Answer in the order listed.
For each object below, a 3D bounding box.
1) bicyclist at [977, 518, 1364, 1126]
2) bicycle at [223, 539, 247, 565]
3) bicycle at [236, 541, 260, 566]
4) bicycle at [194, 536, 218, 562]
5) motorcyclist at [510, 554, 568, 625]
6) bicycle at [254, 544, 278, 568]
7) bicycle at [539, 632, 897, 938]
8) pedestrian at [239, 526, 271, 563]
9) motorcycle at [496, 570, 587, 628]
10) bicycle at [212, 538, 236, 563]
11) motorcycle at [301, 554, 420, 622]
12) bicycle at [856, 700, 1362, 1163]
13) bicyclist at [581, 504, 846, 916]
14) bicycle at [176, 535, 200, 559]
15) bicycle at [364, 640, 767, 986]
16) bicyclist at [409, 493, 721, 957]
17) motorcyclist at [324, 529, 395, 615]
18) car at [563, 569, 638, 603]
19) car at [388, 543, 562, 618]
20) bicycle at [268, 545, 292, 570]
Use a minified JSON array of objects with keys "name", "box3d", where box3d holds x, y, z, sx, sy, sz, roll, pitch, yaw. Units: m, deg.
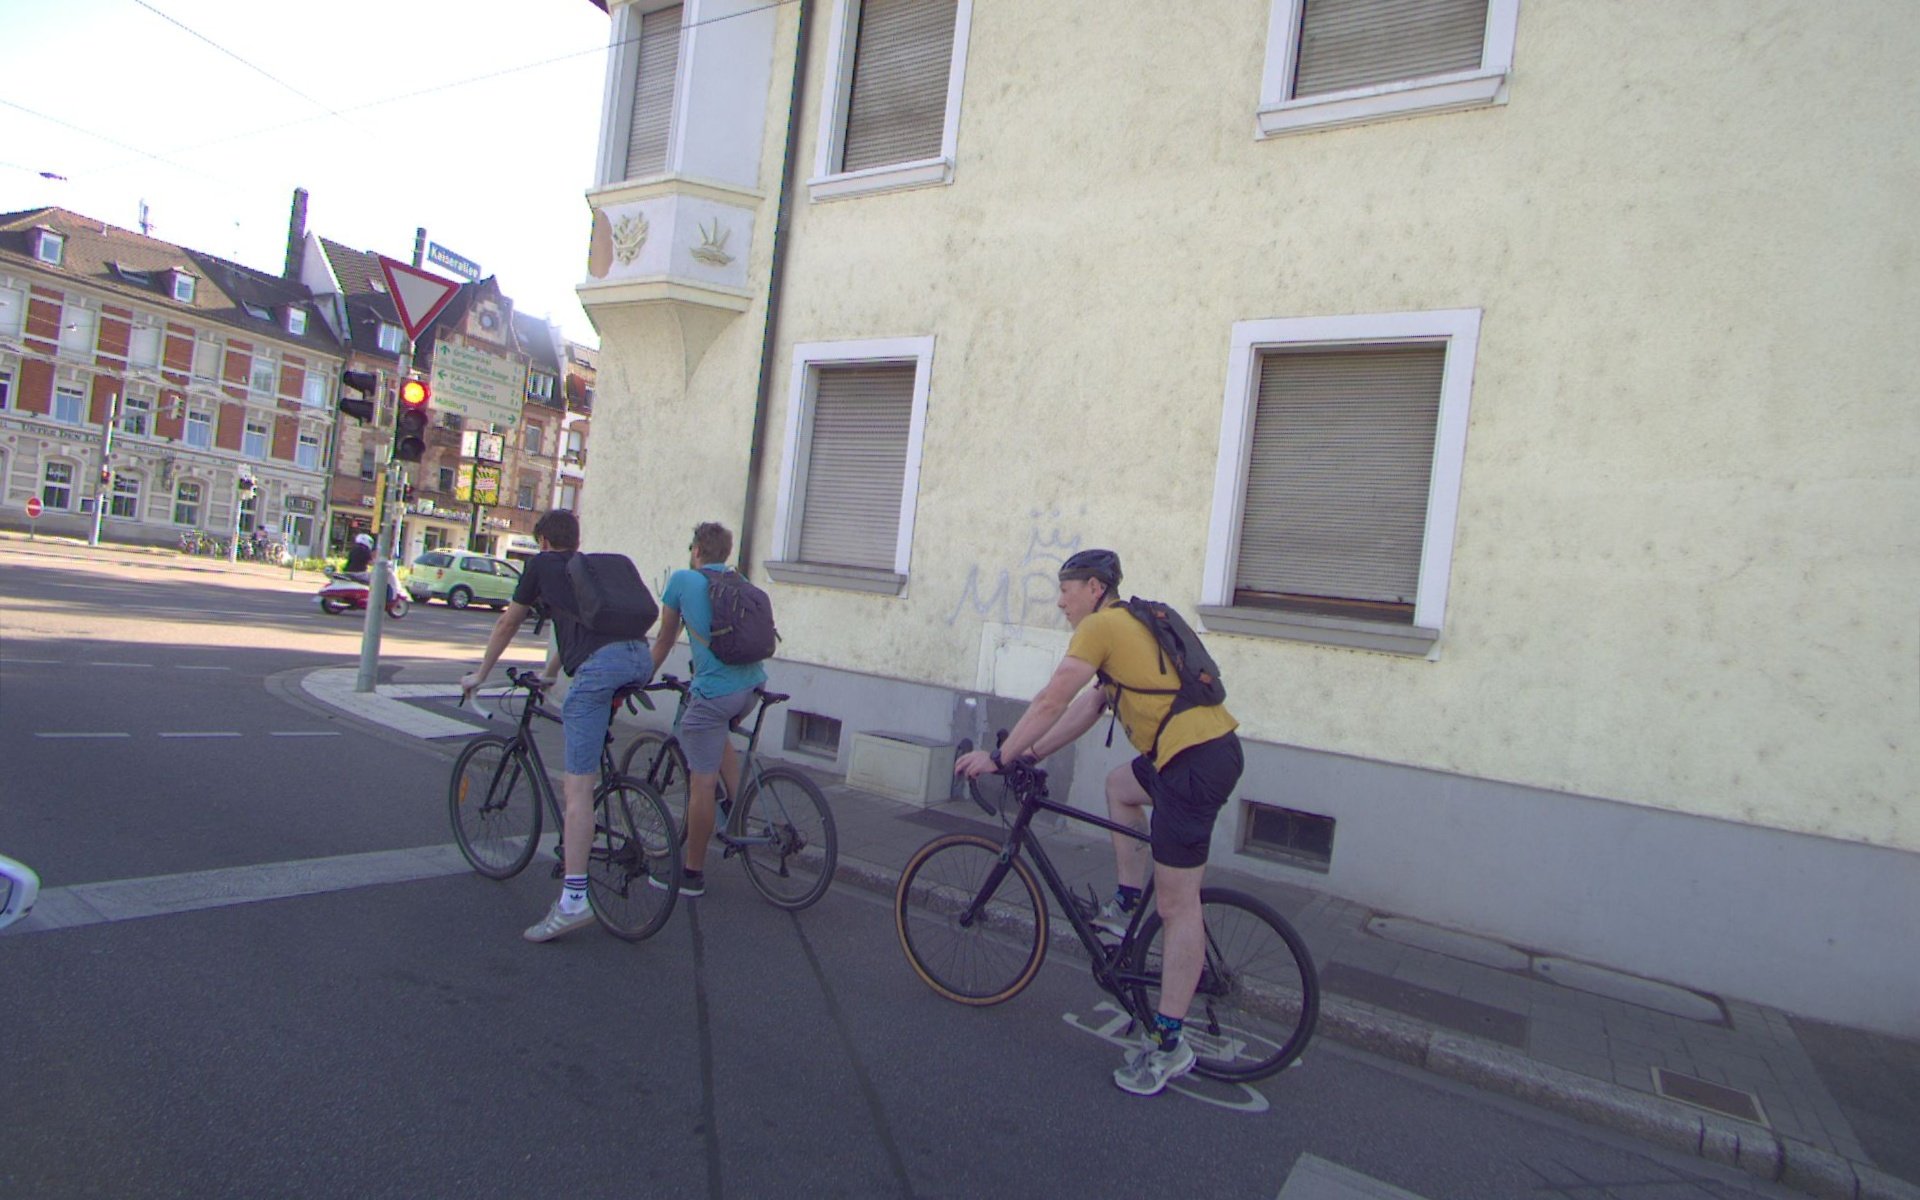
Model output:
[{"name":"bicyclist","box3d":[0.768,0.695,3.661,1.019,1.839,0.652,7,0,32]},{"name":"bicycle","box3d":[-34.006,-2.259,47.175,1.759,1.033,0.485,7,0,42]},{"name":"bicycle","box3d":[-33.678,-2.200,47.566,1.759,1.033,0.485,7,0,42]},{"name":"bicycle","box3d":[-34.644,-2.349,46.205,1.759,1.033,0.485,7,0,42]},{"name":"motorcyclist","box3d":[-10.519,-0.253,25.157,0.801,1.639,0.835,7,-1,20]},{"name":"bicycle","box3d":[-33.315,-2.123,48.294,1.759,1.033,0.485,7,0,42]},{"name":"bicycle","box3d":[-1.314,0.876,5.285,1.858,1.180,0.571,7,0,32]},{"name":"pedestrian","box3d":[-35.764,-2.808,51.047,0.620,1.731,1.035,6,-1,40]},{"name":"motorcycle","box3d":[-10.494,0.001,25.321,0.682,1.243,2.213,7,-1,21]},{"name":"bicycle","box3d":[-34.193,-2.300,46.751,1.759,1.033,0.485,7,0,42]},{"name":"motorcycle","box3d":[-11.686,-0.215,19.706,0.495,1.132,2.032,7,-1,21]},{"name":"bicycle","box3d":[0.509,1.089,3.777,1.670,1.180,0.571,7,0,32]},{"name":"bicyclist","box3d":[-1.290,0.522,5.275,0.978,1.910,0.652,7,0,32]},{"name":"bicycle","box3d":[-35.069,-2.422,45.669,1.759,0.925,0.485,7,0,42]},{"name":"bicycle","box3d":[-1.803,0.834,4.472,1.858,1.071,0.571,7,0,32]},{"name":"bicyclist","box3d":[-1.754,0.490,4.474,0.978,1.788,0.652,7,0,32]},{"name":"motorcyclist","box3d":[-11.688,-0.534,19.605,0.647,1.526,0.817,7,0,20]},{"name":"car","box3d":[-23.270,-0.907,65.287,1.966,1.641,4.261,7,-1,29]},{"name":"car","box3d":[-13.042,-0.483,27.322,1.710,1.516,3.967,7,-1,25]},{"name":"bicycle","box3d":[-33.096,-2.067,48.982,1.759,1.033,0.485,7,0,42]}]
